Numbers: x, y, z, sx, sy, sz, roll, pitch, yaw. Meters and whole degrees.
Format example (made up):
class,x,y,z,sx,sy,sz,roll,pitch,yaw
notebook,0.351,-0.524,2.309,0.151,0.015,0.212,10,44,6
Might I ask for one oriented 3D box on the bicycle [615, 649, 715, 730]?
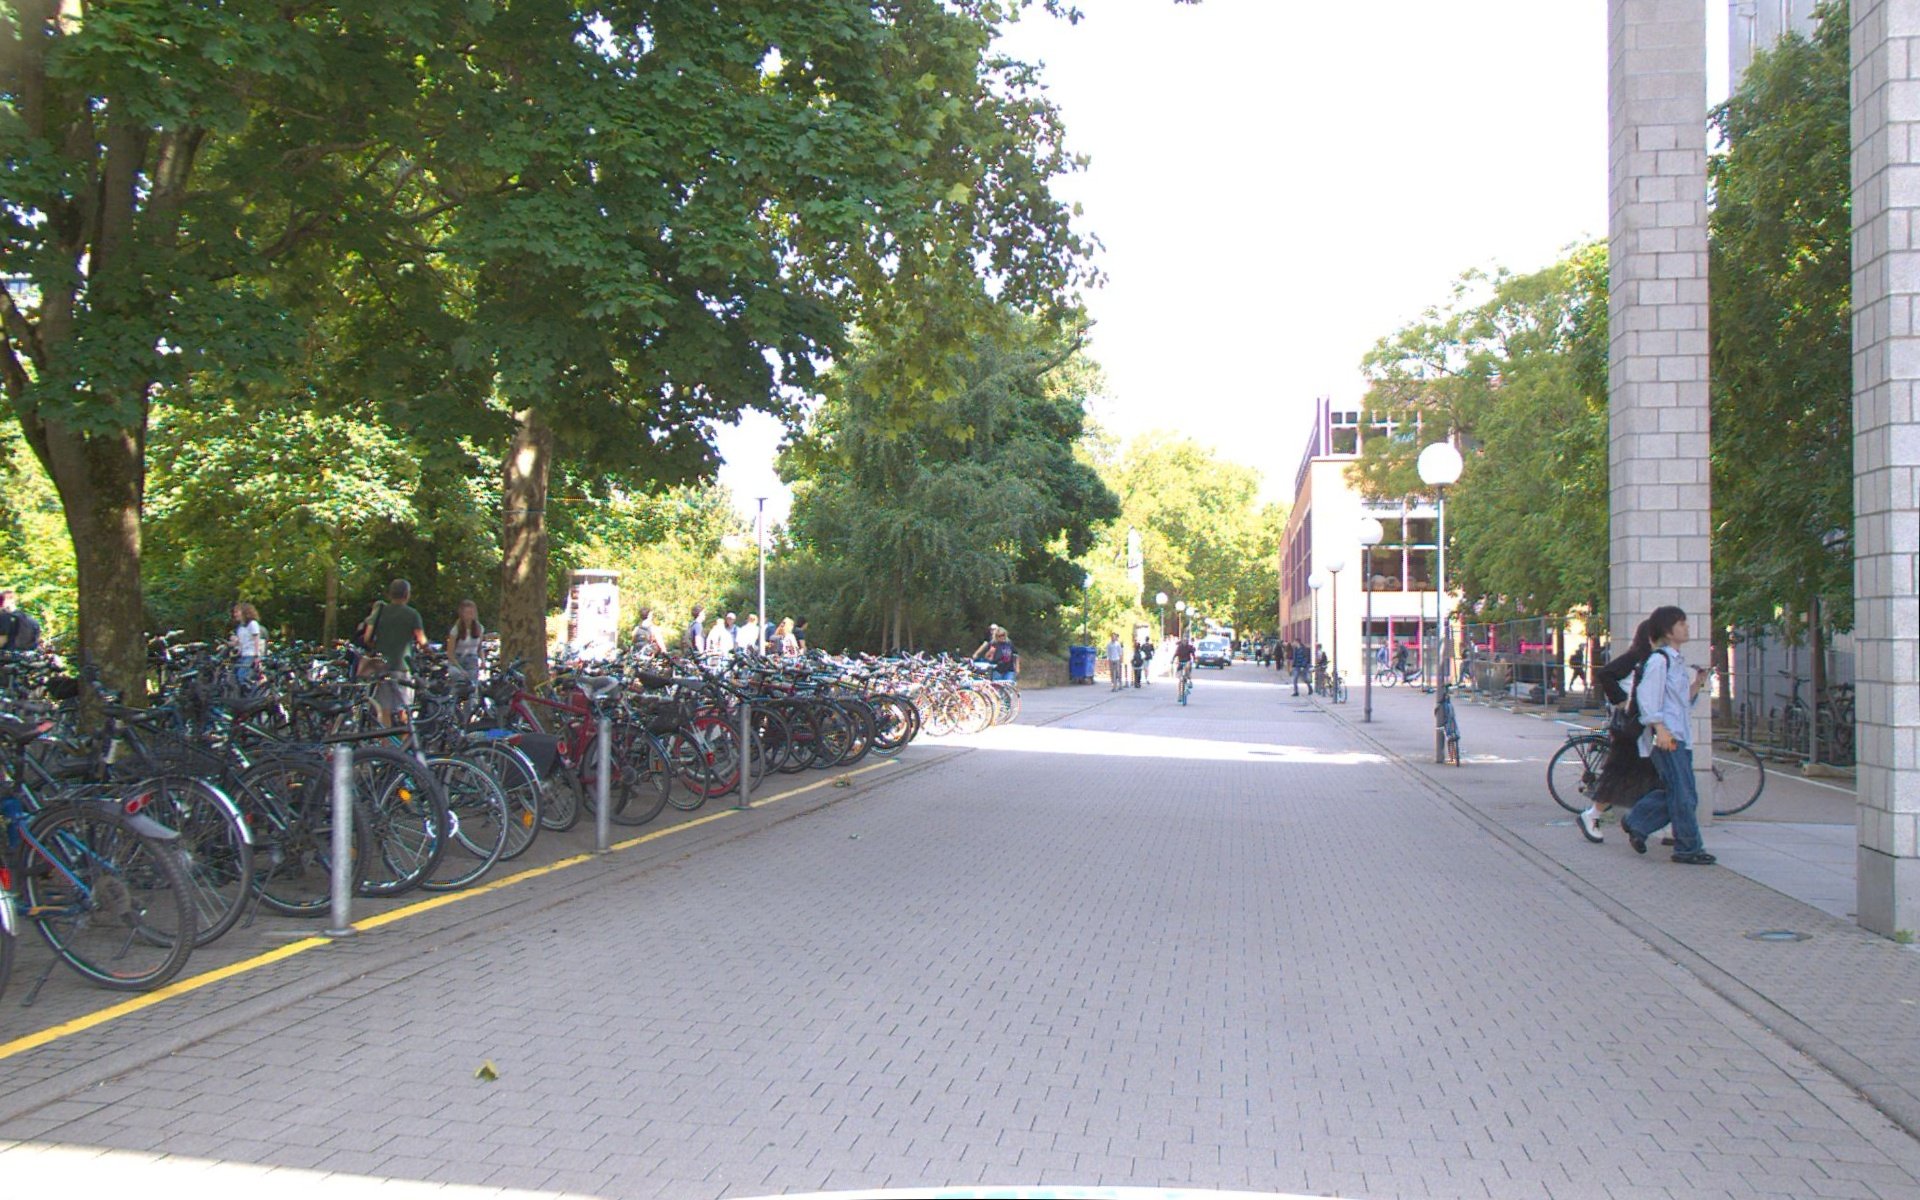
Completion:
class,x,y,z,sx,sy,sz,roll,pitch,yaw
bicycle,-4.280,1.282,23.968,1.668,1.102,0.471,0,-2,41

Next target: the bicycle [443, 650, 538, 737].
class,x,y,z,sx,sy,sz,roll,pitch,yaw
bicycle,-6.320,1.238,22.242,0.470,1.102,1.671,2,-2,-44

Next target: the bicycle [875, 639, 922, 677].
class,x,y,z,sx,sy,sz,roll,pitch,yaw
bicycle,-1.761,1.667,47.414,0.464,1.065,1.696,2,-2,31

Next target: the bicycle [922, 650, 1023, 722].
class,x,y,z,sx,sy,sz,roll,pitch,yaw
bicycle,0.215,1.443,27.852,1.659,1.179,0.474,1,-2,1

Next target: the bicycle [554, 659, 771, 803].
class,x,y,z,sx,sy,sz,roll,pitch,yaw
bicycle,-2.474,1.075,13.798,1.698,1.127,0.497,1,-2,10

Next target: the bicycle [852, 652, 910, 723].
class,x,y,z,sx,sy,sz,roll,pitch,yaw
bicycle,-1.275,1.410,26.938,0.496,1.102,1.701,0,-2,12

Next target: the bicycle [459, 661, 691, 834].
class,x,y,z,sx,sy,sz,roll,pitch,yaw
bicycle,-2.721,1.015,11.671,1.591,1.127,0.497,0,-2,23

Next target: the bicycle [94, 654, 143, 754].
class,x,y,z,sx,sy,sz,roll,pitch,yaw
bicycle,-9.863,1.193,19.366,0.467,1.102,1.684,2,-2,-28

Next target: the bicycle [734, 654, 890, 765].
class,x,y,z,sx,sy,sz,roll,pitch,yaw
bicycle,-1.608,1.191,18.096,1.660,1.165,0.474,1,-2,-2

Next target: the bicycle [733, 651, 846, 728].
class,x,y,z,sx,sy,sz,roll,pitch,yaw
bicycle,-2.580,1.337,24.937,1.660,1.102,0.474,0,-2,23

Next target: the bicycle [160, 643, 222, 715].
class,x,y,z,sx,sy,sz,roll,pitch,yaw
bicycle,-12.709,1.292,27.323,0.512,1.130,1.753,2,-2,-38

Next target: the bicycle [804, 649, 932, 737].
class,x,y,z,sx,sy,sz,roll,pitch,yaw
bicycle,-1.259,1.265,22.588,1.667,1.178,0.472,1,-2,-18

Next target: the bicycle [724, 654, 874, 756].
class,x,y,z,sx,sy,sz,roll,pitch,yaw
bicycle,-1.833,1.203,18.976,1.660,1.127,0.474,1,-2,-2

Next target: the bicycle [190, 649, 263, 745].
class,x,y,z,sx,sy,sz,roll,pitch,yaw
bicycle,-9.008,1.164,20.283,0.469,1.102,1.678,2,-2,-35

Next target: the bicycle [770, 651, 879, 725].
class,x,y,z,sx,sy,sz,roll,pitch,yaw
bicycle,-2.127,1.365,25.950,1.659,1.102,0.474,0,-2,22

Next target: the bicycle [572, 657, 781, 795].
class,x,y,z,sx,sy,sz,roll,pitch,yaw
bicycle,-2.459,1.082,14.424,1.698,1.146,0.497,1,-2,5

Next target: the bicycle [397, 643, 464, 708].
class,x,y,z,sx,sy,sz,roll,pitch,yaw
bicycle,-9.579,1.352,29.885,0.470,1.130,1.751,2,-2,-41

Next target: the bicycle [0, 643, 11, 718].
class,x,y,z,sx,sy,sz,roll,pitch,yaw
bicycle,-15.285,1.237,25.847,0.512,1.130,1.753,2,-2,-38

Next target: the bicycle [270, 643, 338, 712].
class,x,y,z,sx,sy,sz,roll,pitch,yaw
bicycle,-11.405,1.332,28.715,0.513,1.130,1.751,2,-2,-41

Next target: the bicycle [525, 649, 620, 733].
class,x,y,z,sx,sy,sz,roll,pitch,yaw
bicycle,-5.388,1.249,22.949,0.470,1.102,1.671,2,-2,-44

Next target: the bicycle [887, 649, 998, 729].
class,x,y,z,sx,sy,sz,roll,pitch,yaw
bicycle,-0.272,1.346,25.102,1.660,1.189,0.474,1,-2,-3

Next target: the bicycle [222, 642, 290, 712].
class,x,y,z,sx,sy,sz,roll,pitch,yaw
bicycle,-11.931,1.286,28.018,0.513,1.130,1.751,2,-2,-41

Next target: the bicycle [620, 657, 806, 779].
class,x,y,z,sx,sy,sz,roll,pitch,yaw
bicycle,-2.361,1.128,15.934,1.700,1.127,0.496,1,-2,-3

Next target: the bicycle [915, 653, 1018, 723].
class,x,y,z,sx,sy,sz,roll,pitch,yaw
bicycle,0.115,1.452,27.392,1.658,1.110,0.474,1,-2,3

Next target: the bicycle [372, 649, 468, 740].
class,x,y,z,sx,sy,sz,roll,pitch,yaw
bicycle,-6.989,1.197,21.358,0.470,1.102,1.671,2,-2,-44

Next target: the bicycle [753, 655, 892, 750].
class,x,y,z,sx,sy,sz,roll,pitch,yaw
bicycle,-1.683,1.258,20.401,1.660,1.127,0.565,1,-2,-2

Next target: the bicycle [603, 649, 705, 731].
class,x,y,z,sx,sy,sz,roll,pitch,yaw
bicycle,-4.328,1.255,23.355,1.668,1.102,0.471,0,-2,41

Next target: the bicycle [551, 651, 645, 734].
class,x,y,z,sx,sy,sz,roll,pitch,yaw
bicycle,-5.121,1.292,23.351,0.470,1.102,1.671,2,-2,-44

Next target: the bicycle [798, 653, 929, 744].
class,x,y,z,sx,sy,sz,roll,pitch,yaw
bicycle,-1.238,1.269,21.423,1.660,1.127,0.582,1,-2,-2

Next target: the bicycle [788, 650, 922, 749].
class,x,y,z,sx,sy,sz,roll,pitch,yaw
bicycle,-1.315,1.252,20.900,1.660,1.208,0.474,1,-2,-2

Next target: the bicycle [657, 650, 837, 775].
class,x,y,z,sx,sy,sz,roll,pitch,yaw
bicycle,-2.131,1.115,16.597,1.698,1.199,0.497,1,-2,9

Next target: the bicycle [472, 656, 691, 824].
class,x,y,z,sx,sy,sz,roll,pitch,yaw
bicycle,-2.822,1.016,12.308,1.591,1.164,0.497,0,-2,23

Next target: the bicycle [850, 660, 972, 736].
class,x,y,z,sx,sy,sz,roll,pitch,yaw
bicycle,-0.692,1.378,23.355,1.673,1.036,0.470,2,-2,-26

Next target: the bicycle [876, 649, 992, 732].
class,x,y,z,sx,sy,sz,roll,pitch,yaw
bicycle,-0.387,1.340,24.570,1.662,1.189,0.473,1,-2,-8

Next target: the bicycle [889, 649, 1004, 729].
class,x,y,z,sx,sy,sz,roll,pitch,yaw
bicycle,-0.212,1.370,25.812,1.739,1.189,0.474,0,-2,23

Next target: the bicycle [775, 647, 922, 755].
class,x,y,z,sx,sy,sz,roll,pitch,yaw
bicycle,-1.304,1.183,19.497,1.659,1.220,0.537,1,-2,1

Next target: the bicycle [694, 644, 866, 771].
class,x,y,z,sx,sy,sz,roll,pitch,yaw
bicycle,-1.851,1.100,17.120,1.699,1.257,0.497,1,-2,2

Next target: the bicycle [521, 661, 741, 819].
class,x,y,z,sx,sy,sz,roll,pitch,yaw
bicycle,-2.581,1.063,12.930,1.702,1.127,0.574,0,-2,29

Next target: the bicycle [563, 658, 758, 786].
class,x,y,z,sx,sy,sz,roll,pitch,yaw
bicycle,-2.742,1.107,15.132,1.706,1.127,0.495,1,-2,-15

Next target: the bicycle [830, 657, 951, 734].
class,x,y,z,sx,sy,sz,roll,pitch,yaw
bicycle,-0.994,1.365,23.763,1.673,1.080,0.470,2,-2,-26

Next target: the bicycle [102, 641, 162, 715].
class,x,y,z,sx,sy,sz,roll,pitch,yaw
bicycle,-13.413,1.245,26.777,0.512,1.130,1.753,2,-2,-38

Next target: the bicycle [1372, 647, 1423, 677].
class,x,y,z,sx,sy,sz,roll,pitch,yaw
bicycle,16.470,2.335,62.271,1.861,1.102,0.589,0,-1,17

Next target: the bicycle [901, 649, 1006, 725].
class,x,y,z,sx,sy,sz,roll,pitch,yaw
bicycle,-0.098,1.395,26.657,1.658,1.189,0.474,1,-2,3

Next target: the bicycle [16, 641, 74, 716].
class,x,y,z,sx,sy,sz,roll,pitch,yaw
bicycle,-14.537,1.228,26.253,0.512,1.130,1.753,2,-2,-38

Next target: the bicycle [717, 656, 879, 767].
class,x,y,z,sx,sy,sz,roll,pitch,yaw
bicycle,-1.709,1.174,17.581,1.659,1.127,0.497,1,-2,-1

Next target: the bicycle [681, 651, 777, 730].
class,x,y,z,sx,sy,sz,roll,pitch,yaw
bicycle,-3.421,1.318,24.405,0.470,1.102,1.671,2,-2,-45

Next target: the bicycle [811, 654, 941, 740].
class,x,y,z,sx,sy,sz,roll,pitch,yaw
bicycle,-1.120,1.296,22.145,1.667,1.127,0.472,1,-2,-18

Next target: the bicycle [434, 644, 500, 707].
class,x,y,z,sx,sy,sz,roll,pitch,yaw
bicycle,-9.198,1.391,30.837,0.470,1.130,1.751,2,-2,-41

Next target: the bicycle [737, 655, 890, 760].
class,x,y,z,sx,sy,sz,roll,pitch,yaw
bicycle,-1.632,1.202,18.564,1.660,1.127,0.474,1,-2,-2

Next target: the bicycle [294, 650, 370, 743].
class,x,y,z,sx,sy,sz,roll,pitch,yaw
bicycle,-7.935,1.194,20.870,0.469,1.102,1.678,2,-2,-35
